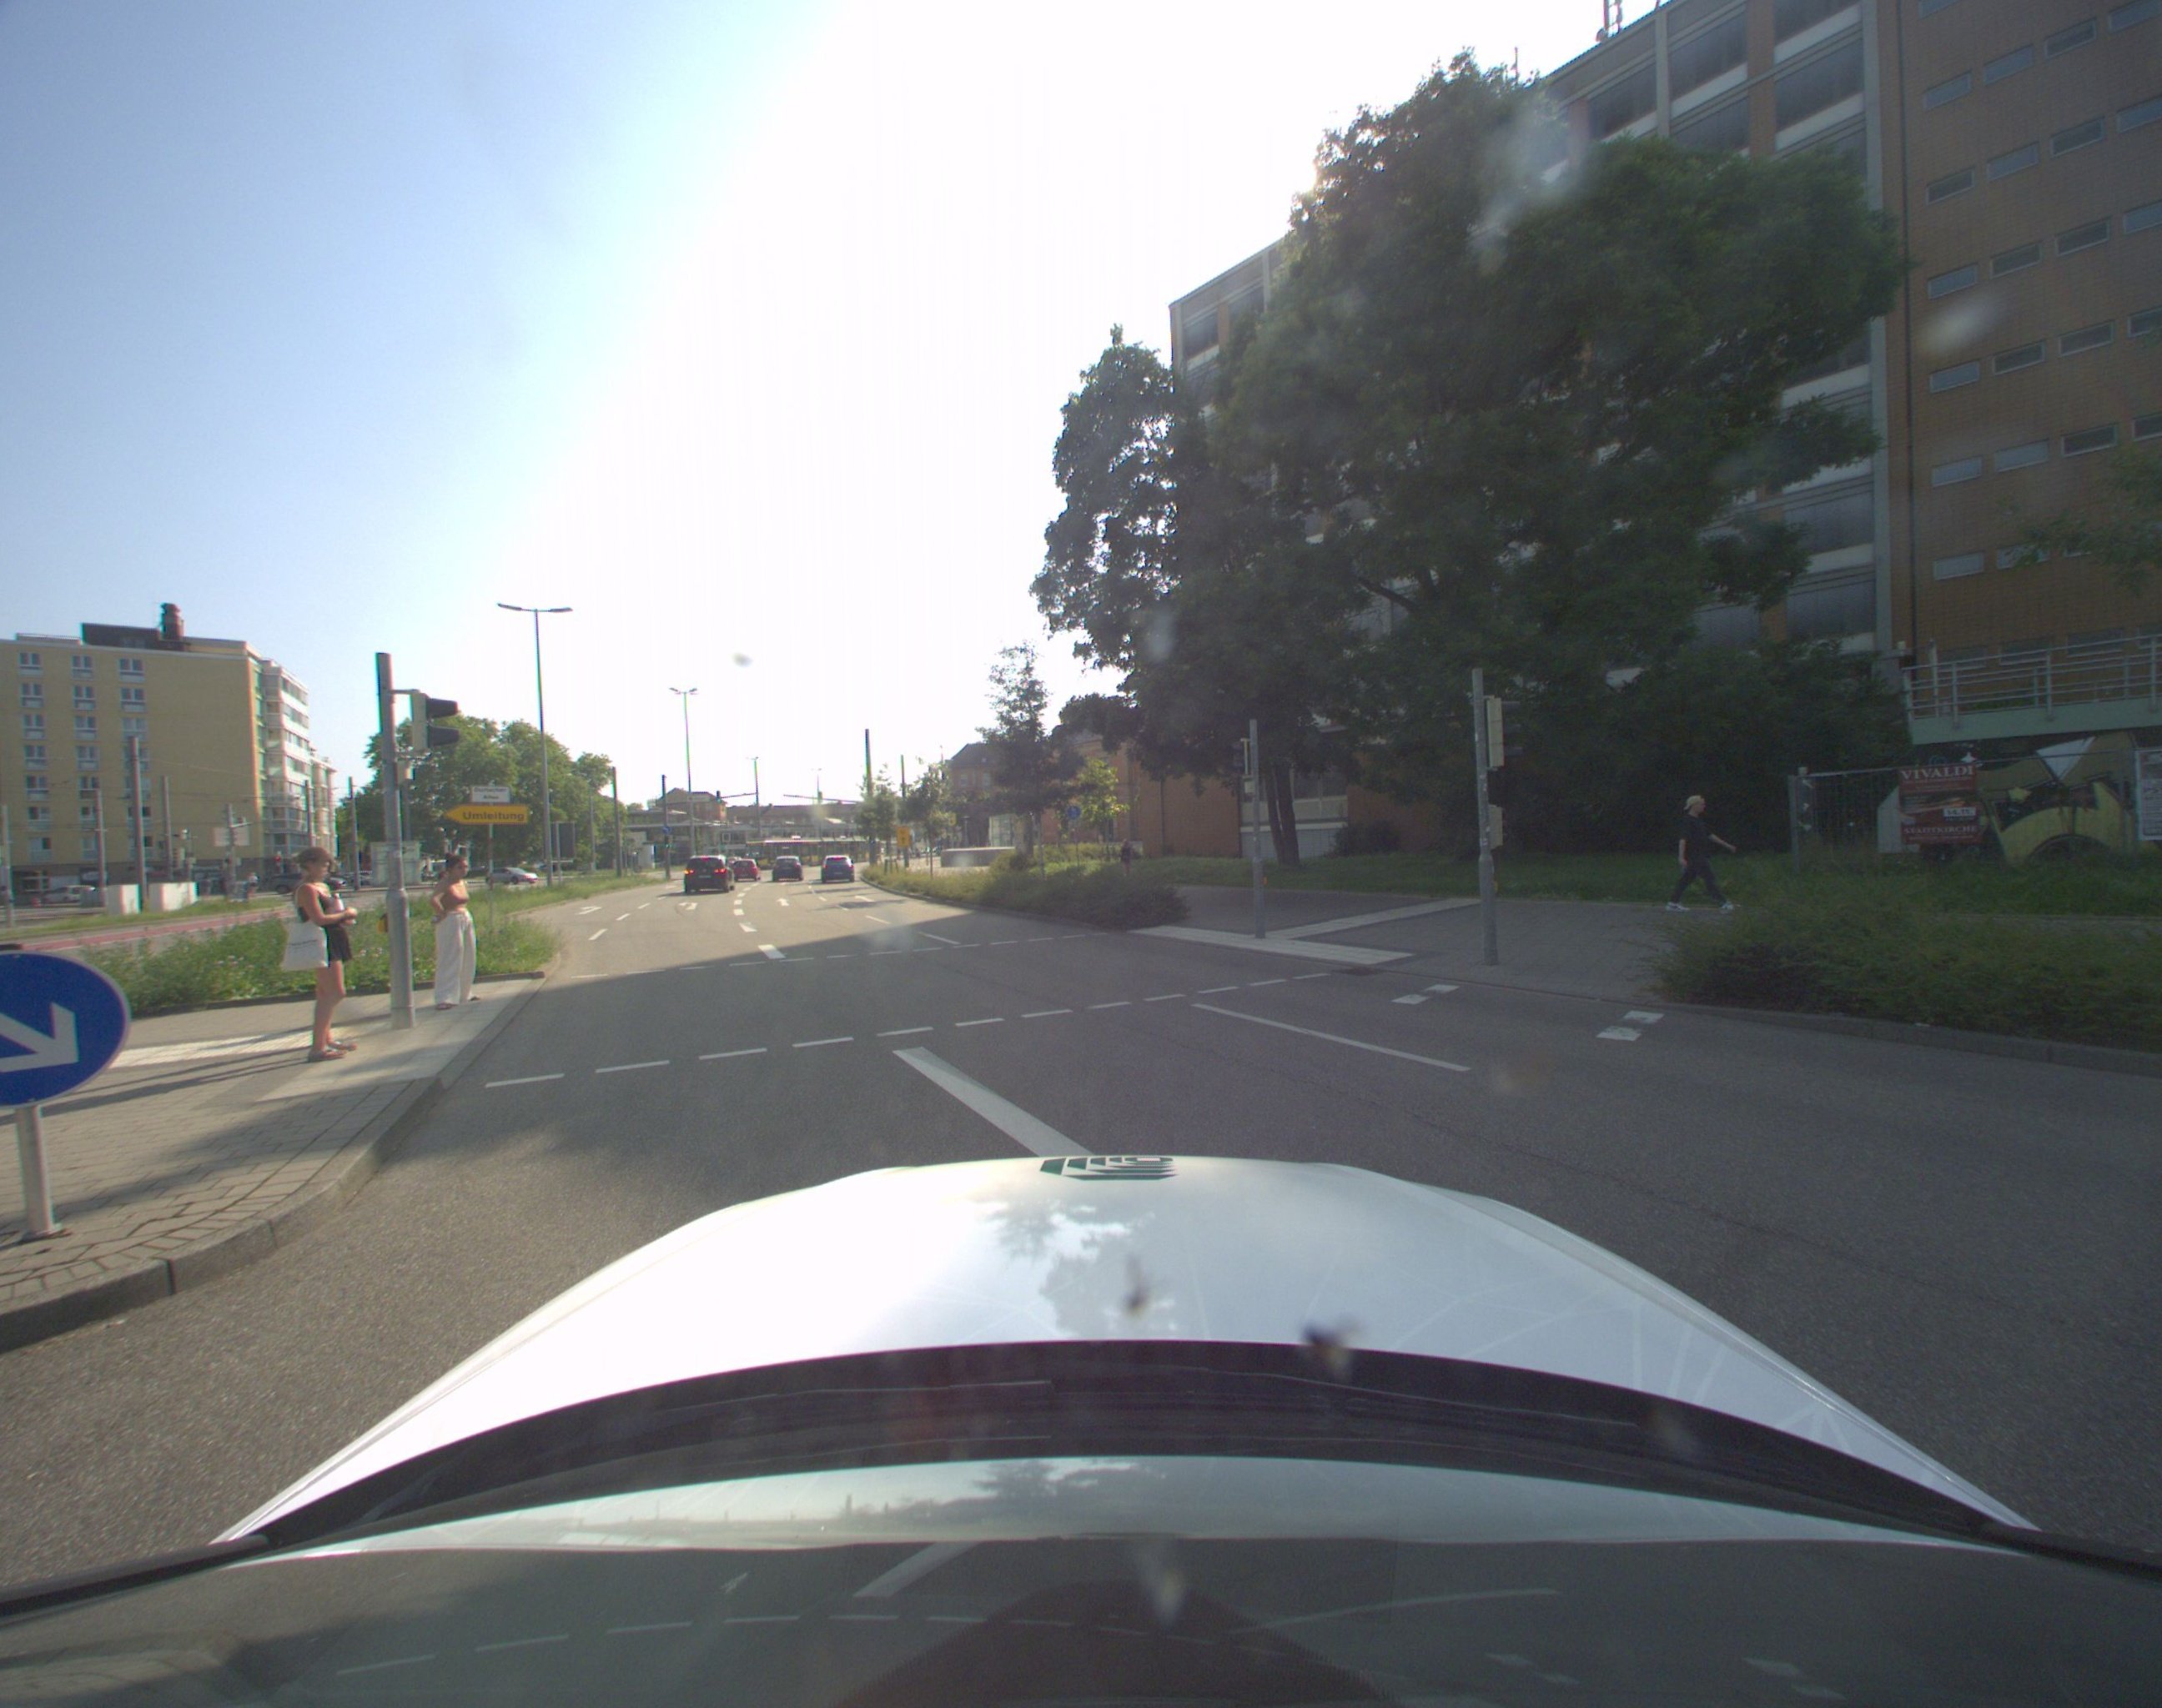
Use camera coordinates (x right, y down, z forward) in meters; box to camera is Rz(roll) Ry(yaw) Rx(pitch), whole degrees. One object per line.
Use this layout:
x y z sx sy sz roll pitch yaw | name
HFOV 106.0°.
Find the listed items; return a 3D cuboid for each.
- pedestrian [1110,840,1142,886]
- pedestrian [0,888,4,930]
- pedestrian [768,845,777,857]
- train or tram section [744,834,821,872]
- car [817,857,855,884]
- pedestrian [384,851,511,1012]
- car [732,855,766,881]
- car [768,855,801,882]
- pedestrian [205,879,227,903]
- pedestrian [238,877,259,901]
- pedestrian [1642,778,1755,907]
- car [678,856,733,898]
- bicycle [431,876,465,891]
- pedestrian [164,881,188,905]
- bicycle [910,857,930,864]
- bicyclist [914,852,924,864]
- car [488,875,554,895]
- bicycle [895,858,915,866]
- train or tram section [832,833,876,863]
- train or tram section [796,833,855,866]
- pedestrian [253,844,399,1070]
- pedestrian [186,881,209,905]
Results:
1.477 0.294 27.017 0.727 1.443 0.851 -3 0 -21 | pedestrian
-41.186 2.087 30.339 0.856 1.559 0.994 -2 0 16 | pedestrian
-39.750 -0.413 104.938 0.774 1.503 0.711 -2 0 2 | pedestrian
-31.742 -0.213 87.363 2.638 3.698 10.619 -2 1 10 | train or tram section
-14.328 0.924 47.418 1.832 1.428 4.383 -3 1 -20 | car
-6.901 0.815 8.904 0.663 1.654 0.781 -2 1 7 | pedestrian
-21.951 0.906 53.990 1.832 1.535 4.383 -3 1 -20 | car
-18.961 0.896 52.131 1.832 1.535 4.383 -3 1 -20 | car
-64.167 2.759 60.402 0.929 1.690 0.912 -2 0 -36 | pedestrian
-62.688 2.636 61.315 0.929 1.690 0.912 -2 0 -36 | pedestrian
9.131 -0.180 12.049 0.964 1.782 0.993 -5 2 -32 | pedestrian
-17.315 1.009 37.741 1.832 1.714 4.383 -3 1 -20 | car
-46.158 2.137 59.385 1.824 0.932 0.719 -3 1 -30 | bicycle
-65.512 2.813 58.953 0.929 1.690 0.912 -2 0 -36 | pedestrian
-23.482 0.925 118.793 2.641 0.964 1.080 -3 1 -42 | bicycle
-23.637 0.565 118.654 0.942 1.680 1.080 -3 1 -42 | bicyclist
-47.467 2.623 69.173 4.226 1.433 1.807 -3 0 -21 | car
-25.197 1.167 116.572 2.641 0.964 1.080 -3 1 -42 | bicycle
-30.100 -0.828 108.364 2.730 3.698 10.589 -3 1 0 | train or tram section
-30.494 -0.593 97.823 2.694 3.698 10.604 -2 1 5 | train or tram section
-6.146 0.790 6.677 0.671 1.699 0.685 -3 1 -30 | pedestrian
-65.134 2.872 60.063 0.929 1.690 0.912 -2 0 -36 | pedestrian
